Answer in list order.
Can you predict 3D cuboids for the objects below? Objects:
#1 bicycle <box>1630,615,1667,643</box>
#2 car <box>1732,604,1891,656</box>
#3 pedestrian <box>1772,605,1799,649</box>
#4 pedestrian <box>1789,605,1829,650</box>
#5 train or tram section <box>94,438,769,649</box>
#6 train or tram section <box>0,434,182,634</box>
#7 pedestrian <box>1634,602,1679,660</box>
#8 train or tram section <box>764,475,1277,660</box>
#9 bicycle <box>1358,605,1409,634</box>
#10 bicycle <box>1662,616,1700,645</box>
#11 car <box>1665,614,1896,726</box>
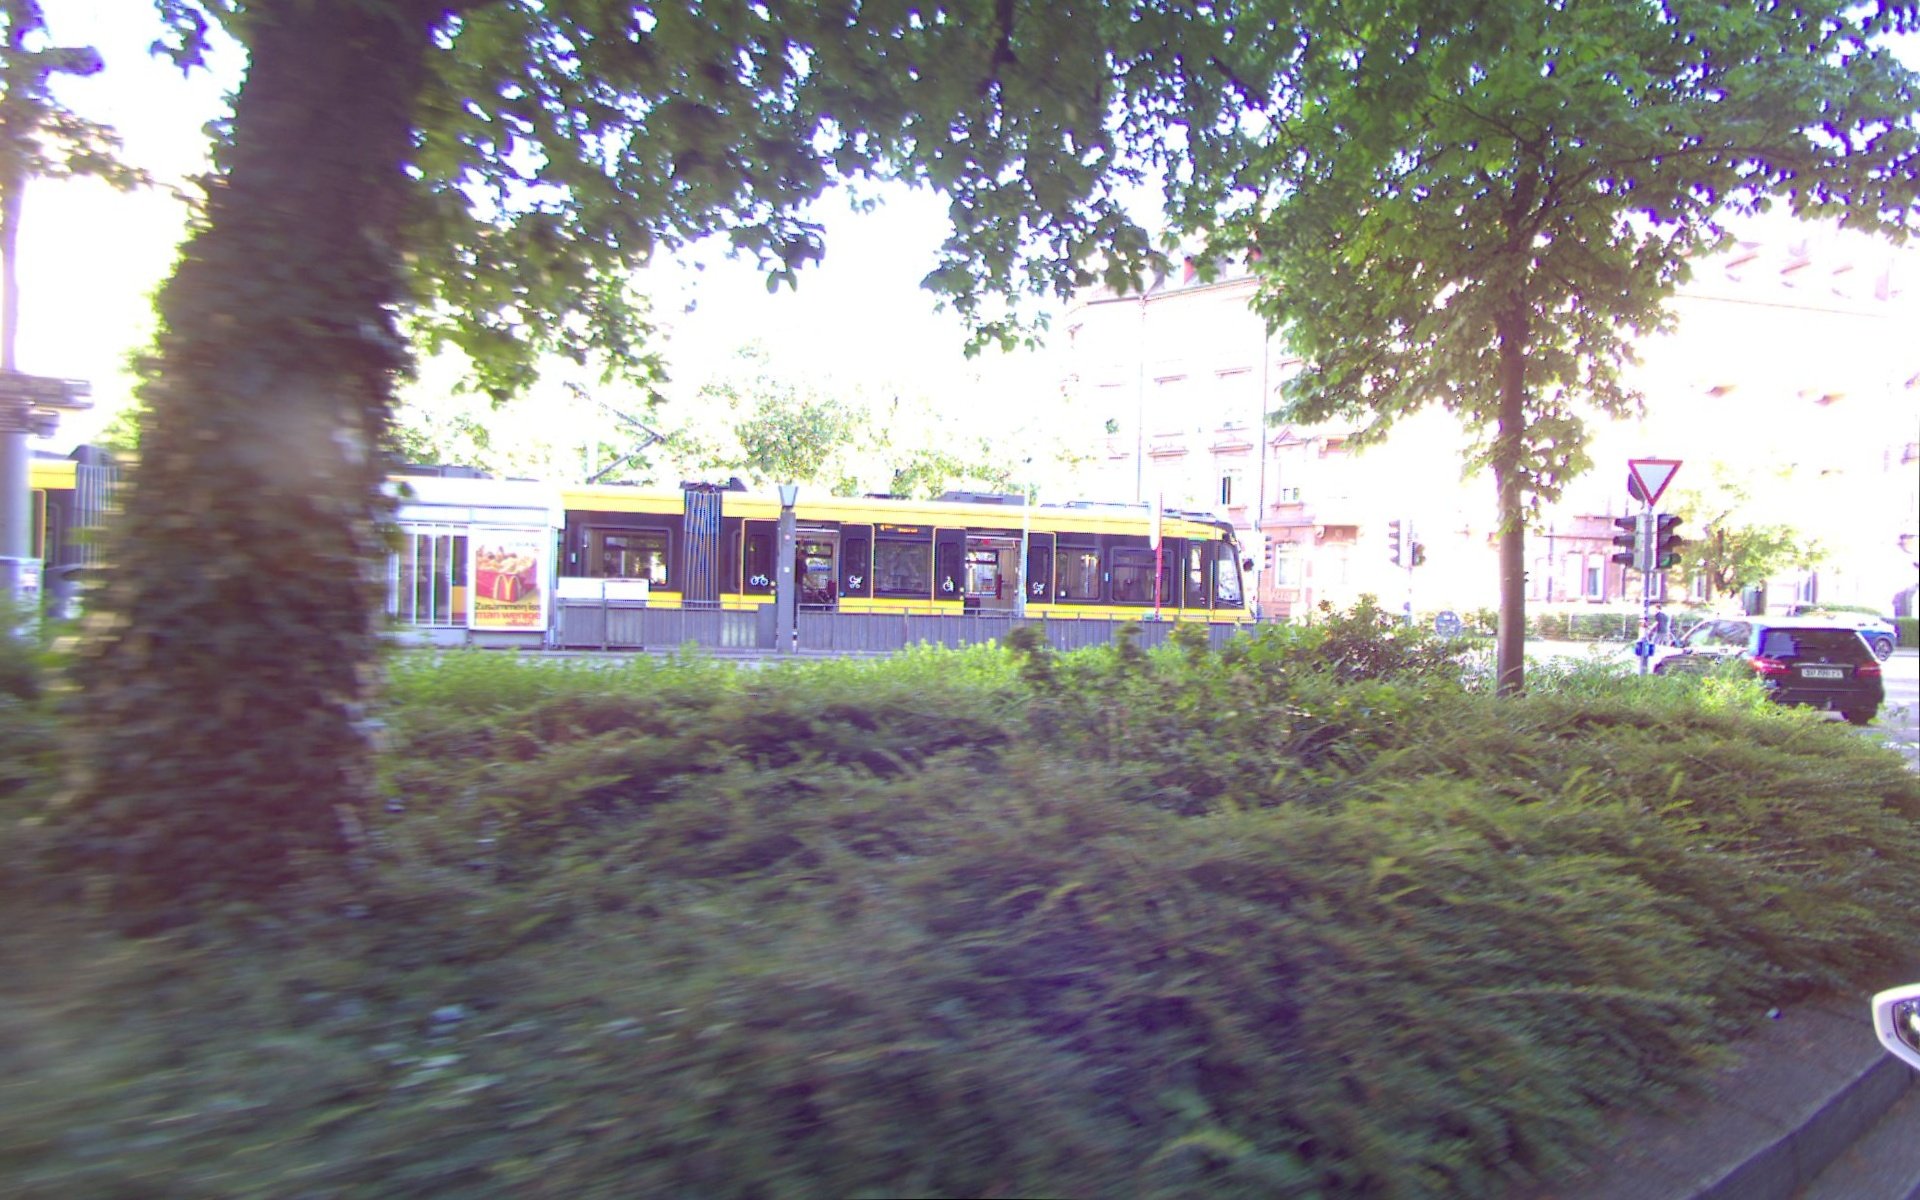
[{"bbox_3d":[28.055,1.175,40.940,1.210,1.122,0.443,1,2,-5],"label":"bicycle"},{"bbox_3d":[30.071,1.040,35.525,4.332,1.672,1.945,2,1,-11],"label":"car"},{"bbox_3d":[33.697,1.103,40.999,0.624,1.738,0.521,2,1,2],"label":"pedestrian"},{"bbox_3d":[33.435,1.072,39.570,0.880,1.688,0.712,2,4,6],"label":"pedestrian"},{"bbox_3d":[-10.290,-1.012,21.173,12.201,3.635,2.780,2,1,-11],"label":"train or tram section"},{"bbox_3d":[-22.380,-1.395,18.705,12.458,3.605,2.767,2,1,-12],"label":"train or tram section"},{"bbox_3d":[21.000,0.918,30.291,0.720,1.657,0.893,0,4,-42],"label":"pedestrian"},{"bbox_3d":[1.368,-0.636,23.560,11.593,3.668,2.794,2,1,-11],"label":"train or tram section"},{"bbox_3d":[18.016,0.820,42.740,1.929,1.122,0.443,4,2,23],"label":"bicycle"},{"bbox_3d":[29.448,1.253,41.043,1.210,1.122,0.443,1,2,-5],"label":"bicycle"},{"bbox_3d":[13.039,1.019,16.257,1.760,1.562,3.859,0,-1,21],"label":"car"}]
